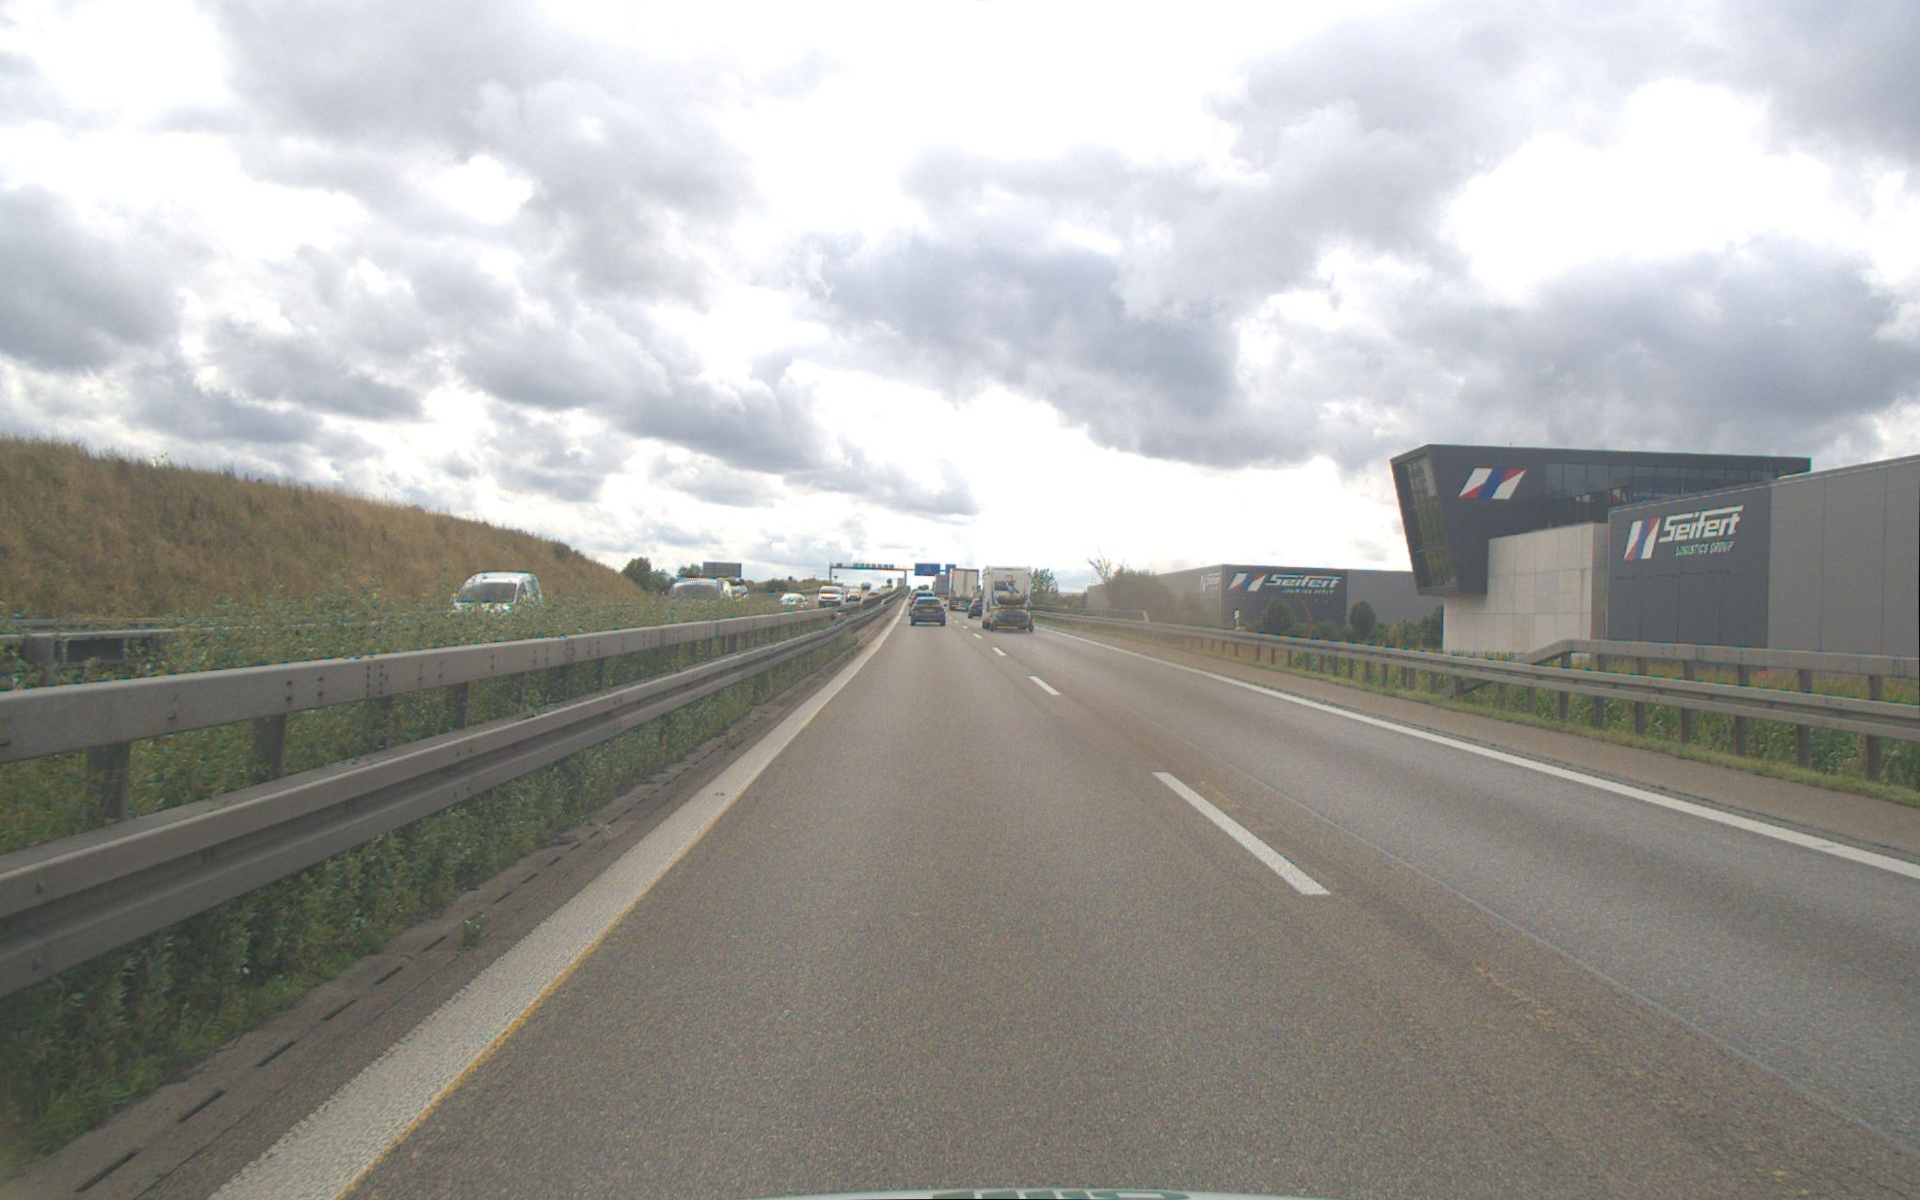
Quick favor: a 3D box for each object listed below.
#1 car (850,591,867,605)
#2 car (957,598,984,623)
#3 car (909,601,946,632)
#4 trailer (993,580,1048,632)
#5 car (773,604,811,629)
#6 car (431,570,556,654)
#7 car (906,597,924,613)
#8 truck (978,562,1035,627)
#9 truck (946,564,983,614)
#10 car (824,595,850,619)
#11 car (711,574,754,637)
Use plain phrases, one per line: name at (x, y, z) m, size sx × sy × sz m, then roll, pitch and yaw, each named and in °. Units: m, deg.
car at (-11.881, -0.247, 193.412) m, size 1.804 × 1.604 × 3.999 m, roll 1°, pitch -1°, yaw -1°
car at (0.753, 0.795, 118.435) m, size 1.764 × 1.714 × 3.999 m, roll 1°, pitch -1°, yaw -1°
car at (-1.638, 0.850, 84.968) m, size 1.710 × 1.478 × 4.000 m, roll 1°, pitch -1°, yaw 1°
trailer at (2.637, 0.276, 72.935) m, size 2.290 × 2.174 × 4.000 m, roll 1°, pitch -1°, yaw 1°
car at (-9.814, 0.976, 96.813) m, size 1.774 × 1.427 × 4.405 m, roll 1°, pitch -1°, yaw -1°
car at (-12.092, 0.299, 43.227) m, size 1.953 × 2.049 × 4.707 m, roll 1°, pitch 0°, yaw -1°
car at (-5.101, 0.574, 188.616) m, size 1.903 × 1.806 × 3.696 m, roll 1°, pitch -1°, yaw 1°
truck at (2.199, -0.214, 80.163) m, size 2.431 × 3.002 × 5.813 m, roll 1°, pitch -1°, yaw -1°
truck at (0.396, -1.013, 162.183) m, size 3.271 × 4.614 × 8.014 m, roll 1°, pitch -1°, yaw -1°
car at (-10.116, 0.587, 135.957) m, size 1.791 × 1.918 × 5.417 m, roll 1°, pitch -1°, yaw -1°
car at (-14.059, 0.373, 102.466) m, size 1.955 × 3.728 × 5.115 m, roll 1°, pitch -1°, yaw -1°
